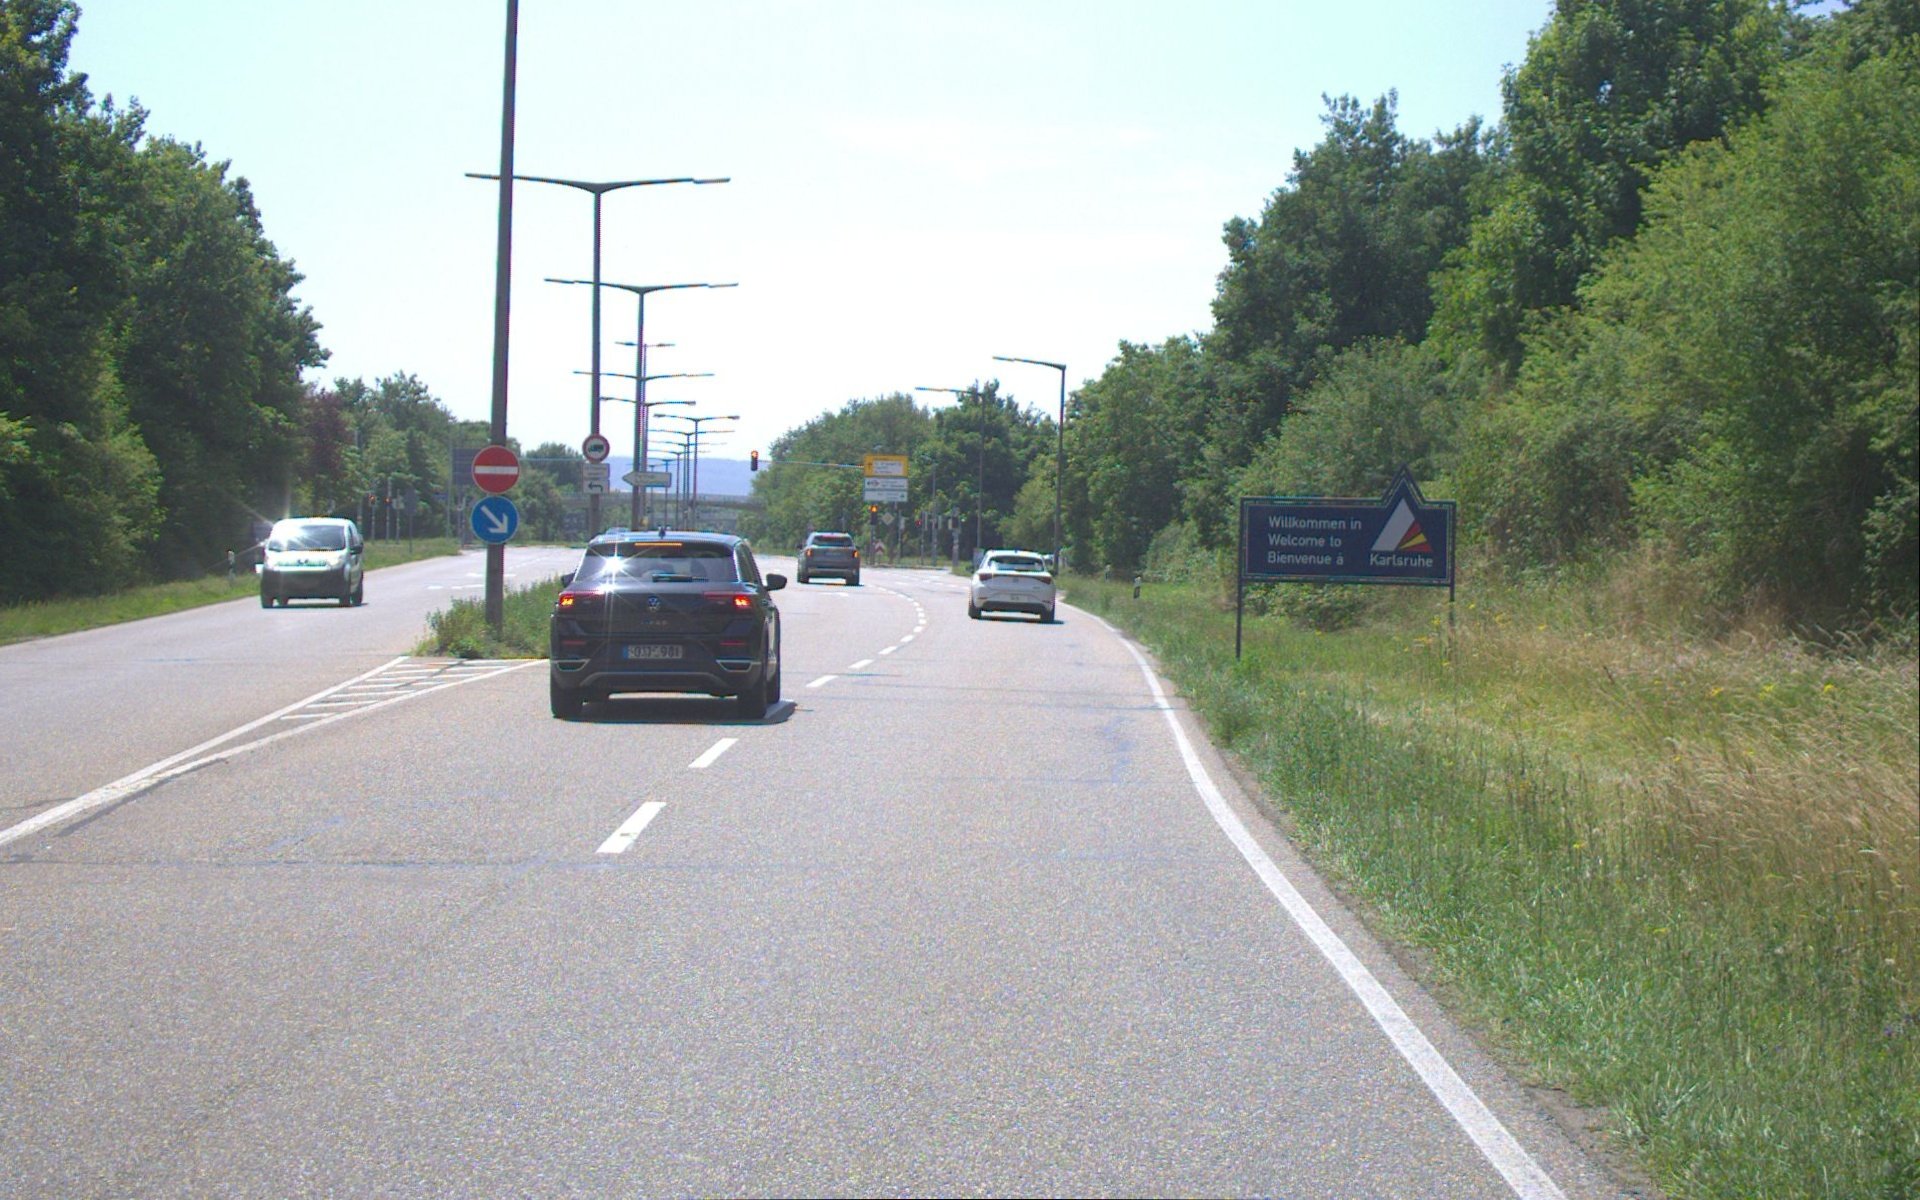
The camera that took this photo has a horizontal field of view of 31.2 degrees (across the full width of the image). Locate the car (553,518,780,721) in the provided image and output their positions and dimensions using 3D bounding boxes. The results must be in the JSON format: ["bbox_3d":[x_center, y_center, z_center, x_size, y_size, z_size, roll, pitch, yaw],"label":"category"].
[{"bbox_3d":[-2.523,0.124,29.477,1.755,1.550,4.001,2,1,-5],"label":"car"}]

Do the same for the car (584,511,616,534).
[{"bbox_3d":[-24.285,-5.224,232.128,1.828,1.514,4.001,3,1,-2],"label":"car"}]

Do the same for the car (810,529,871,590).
[{"bbox_3d":[-3.969,-1.344,113.372,1.755,1.922,4.001,2,1,-5],"label":"car"}]

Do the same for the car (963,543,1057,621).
[{"bbox_3d":[1.026,-0.399,72.196,1.797,1.577,4.000,0,1,-2],"label":"car"}]

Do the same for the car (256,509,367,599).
[{"bbox_3d":[-12.634,-0.922,67.167,1.731,1.682,4.096,-1,1,-5],"label":"car"}]
